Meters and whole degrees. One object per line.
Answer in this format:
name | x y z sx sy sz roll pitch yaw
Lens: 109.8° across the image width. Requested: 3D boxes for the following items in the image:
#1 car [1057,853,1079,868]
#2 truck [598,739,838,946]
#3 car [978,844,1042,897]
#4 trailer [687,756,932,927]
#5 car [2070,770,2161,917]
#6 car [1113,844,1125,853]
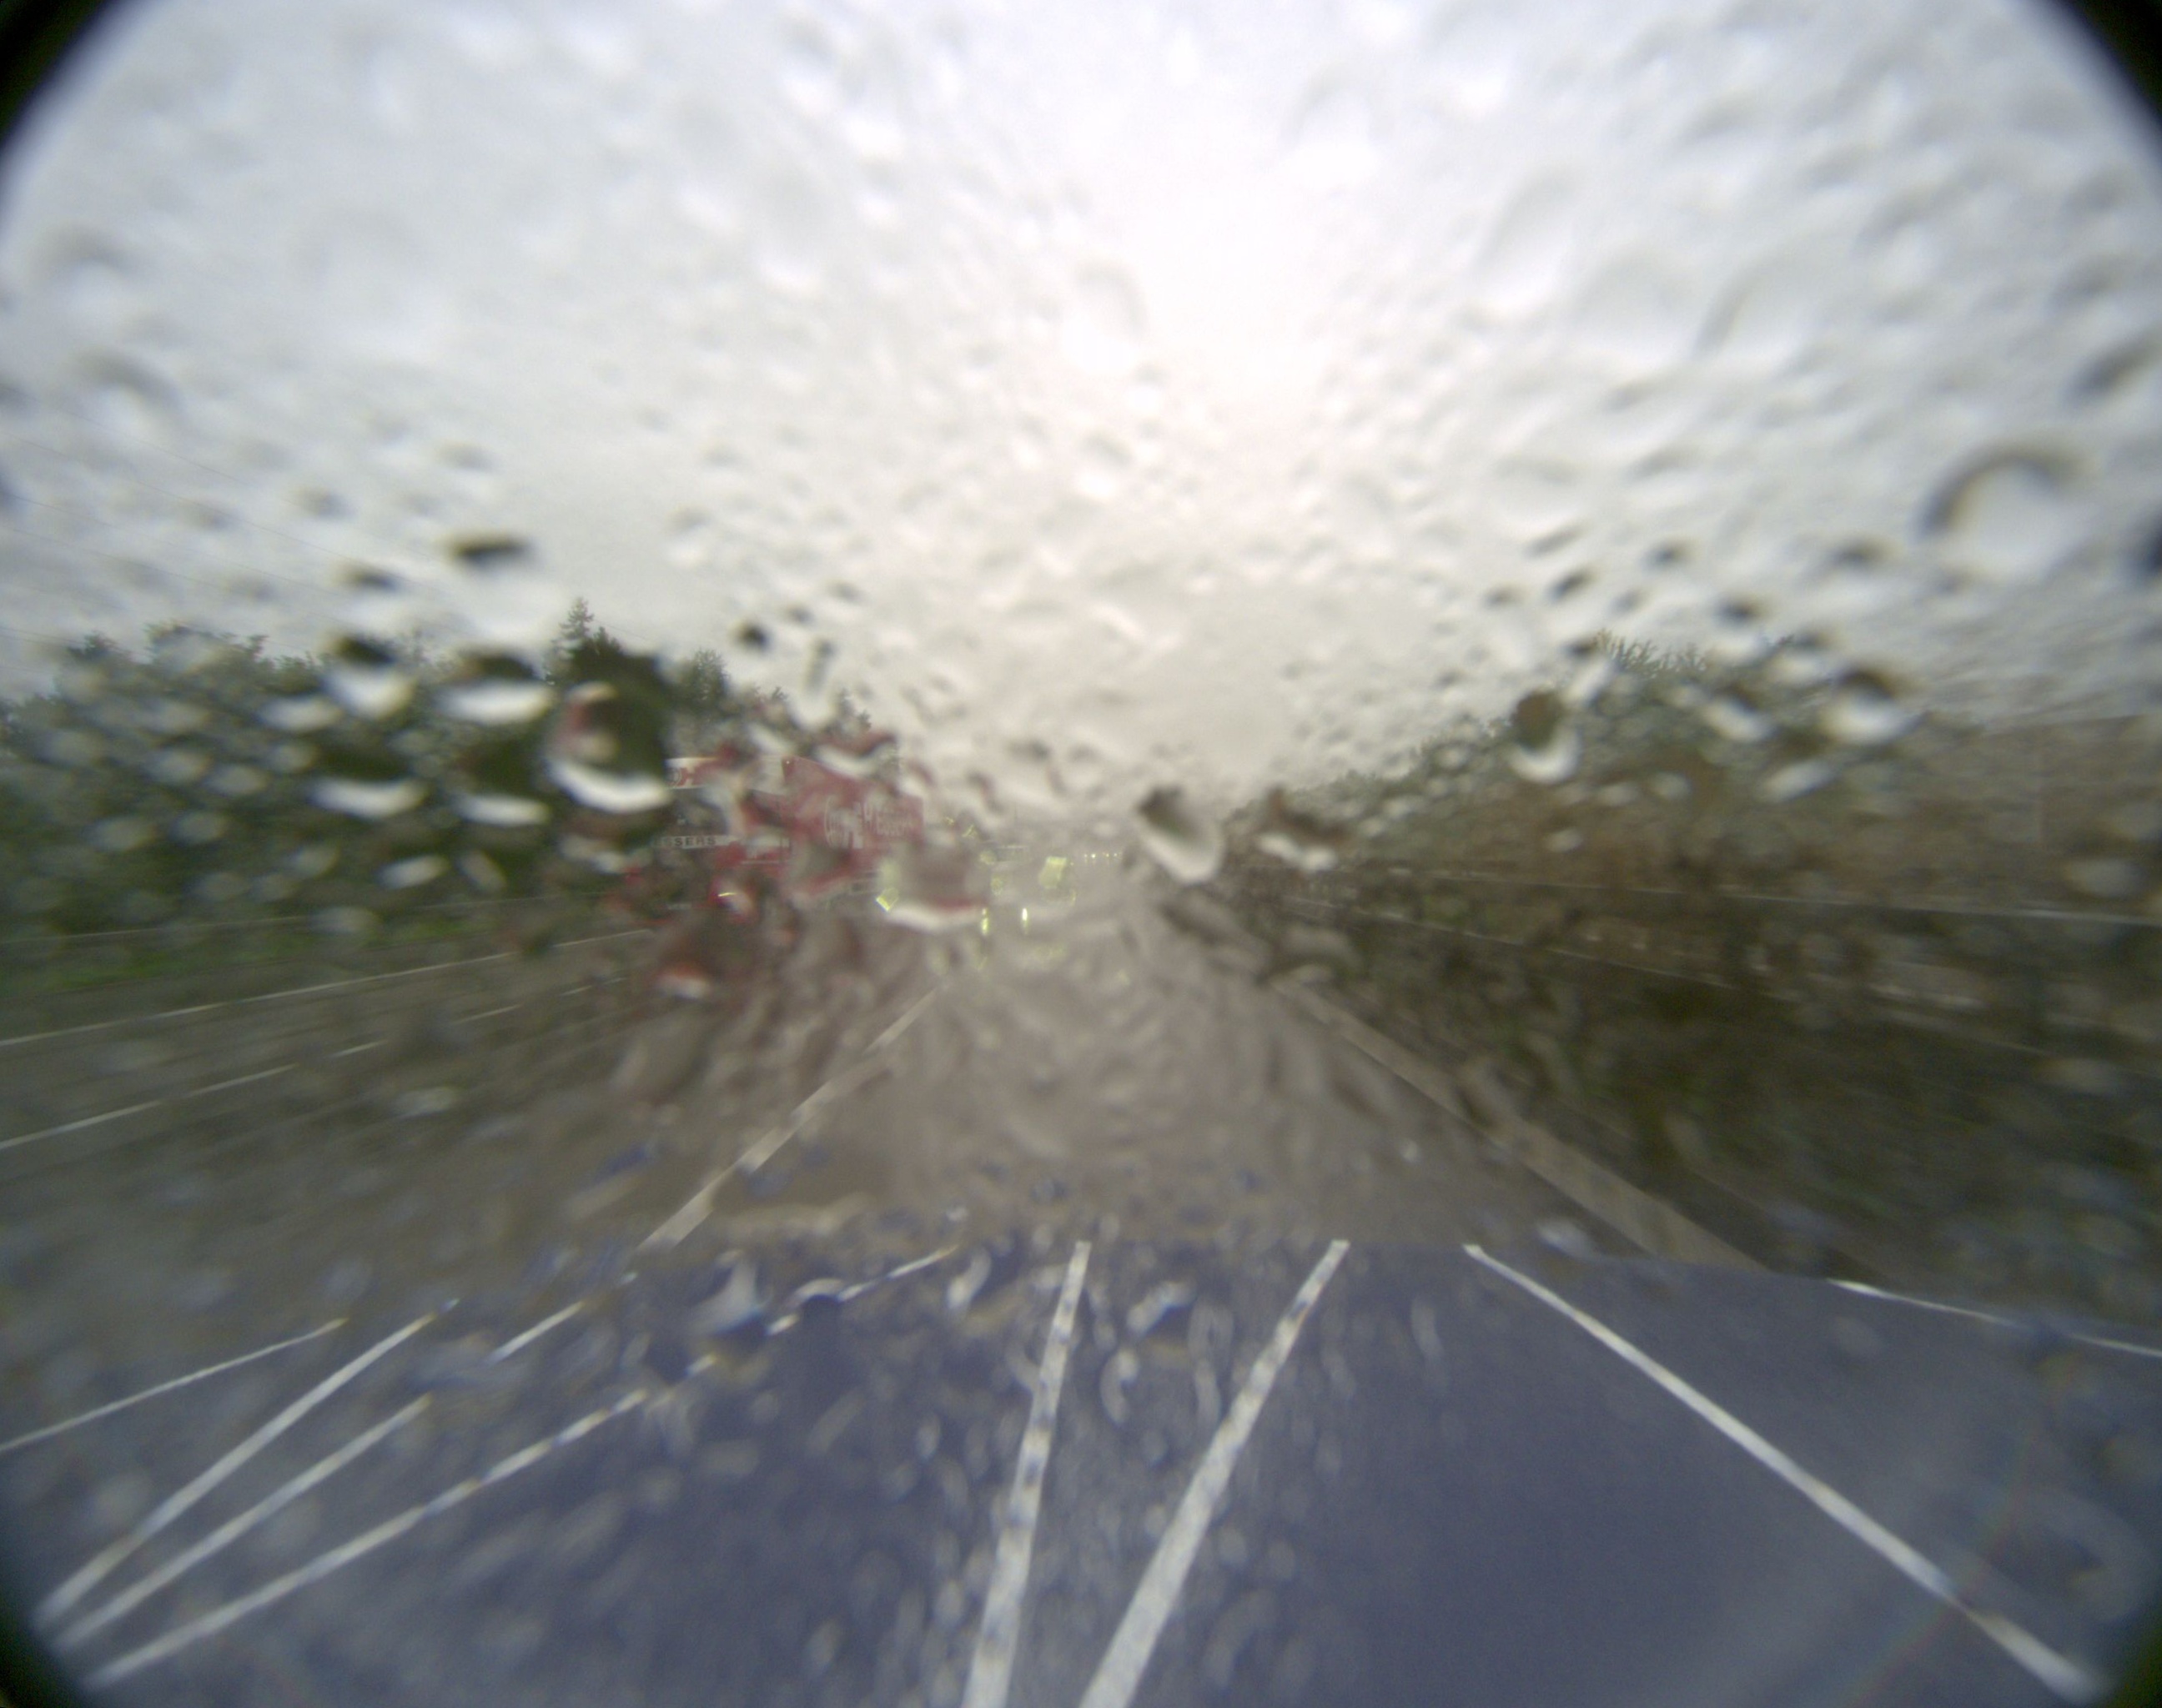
car | -1.301 0.665 79.531 1.768 1.448 3.960 -5 0 5
truck | -7.937 -0.254 17.518 2.626 3.933 5.432 -2 1 2
car | -2.839 0.610 31.618 1.892 1.873 5.009 -5 0 2
trailer | -7.745 -0.385 24.784 2.626 3.932 13.629 -2 1 2
car | 15.570 -0.169 9.365 1.860 2.002 3.779 -3 1 1
car | 7.206 -1.086 144.608 1.768 1.448 3.961 -5 0 8
